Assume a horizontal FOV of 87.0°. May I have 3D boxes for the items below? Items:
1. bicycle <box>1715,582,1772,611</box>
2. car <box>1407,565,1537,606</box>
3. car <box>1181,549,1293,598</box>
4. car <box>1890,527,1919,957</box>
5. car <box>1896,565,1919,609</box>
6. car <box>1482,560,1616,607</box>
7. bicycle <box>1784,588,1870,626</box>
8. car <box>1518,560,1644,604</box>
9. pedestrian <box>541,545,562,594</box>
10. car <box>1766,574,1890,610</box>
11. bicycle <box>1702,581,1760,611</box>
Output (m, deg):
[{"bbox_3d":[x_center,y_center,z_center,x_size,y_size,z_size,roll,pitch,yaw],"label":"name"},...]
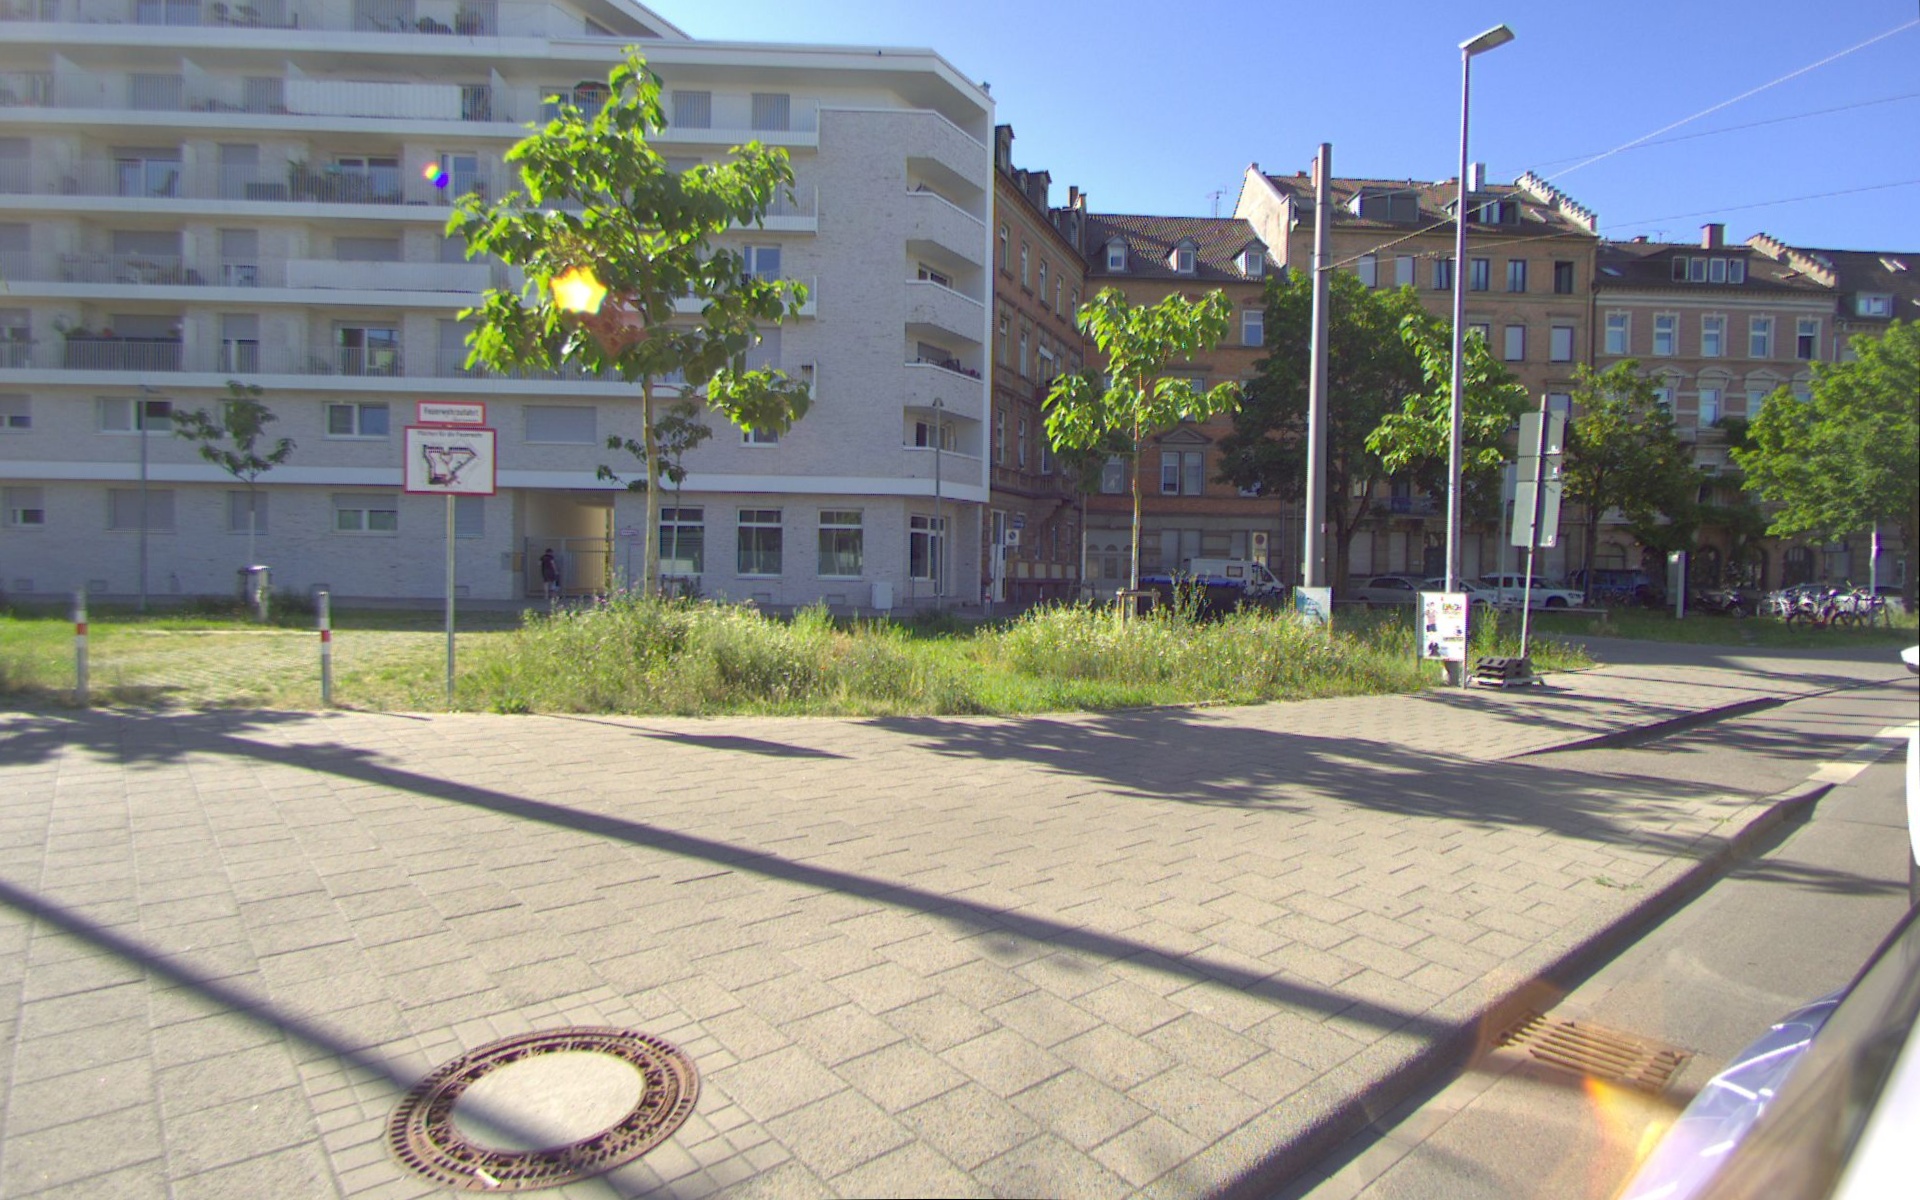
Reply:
[{"bbox_3d":[29.276,-0.152,37.856,0.442,1.037,1.766,0,1,-15],"label":"bicycle"},{"bbox_3d":[19.595,-0.588,38.823,1.964,1.482,3.997,0,2,-38],"label":"car"},{"bbox_3d":[12.746,-1.230,46.727,4.553,2.139,2.001,1,1,-1],"label":"car"},{"bbox_3d":[5.847,0.552,4.619,4.262,1.650,1.872,-1,2,-41],"label":"car"},{"bbox_3d":[40.491,-0.474,40.100,1.700,1.793,4.791,0,2,-38],"label":"car"},{"bbox_3d":[22.534,-0.651,38.834,1.964,1.682,3.997,0,2,-38],"label":"car"},{"bbox_3d":[24.726,0.194,28.886,1.742,1.037,0.564,1,1,23],"label":"bicycle"},{"bbox_3d":[25.479,-0.759,41.635,1.964,1.682,3.997,0,2,-38],"label":"car"},{"bbox_3d":[-14.083,-1.044,34.898,0.513,1.668,0.470,1,1,2],"label":"pedestrian"},{"bbox_3d":[34.263,-0.346,40.001,1.701,1.348,3.463,0,2,-38],"label":"car"},{"bbox_3d":[28.454,-0.158,37.368,0.442,1.037,1.766,0,1,-15],"label":"bicycle"}]
